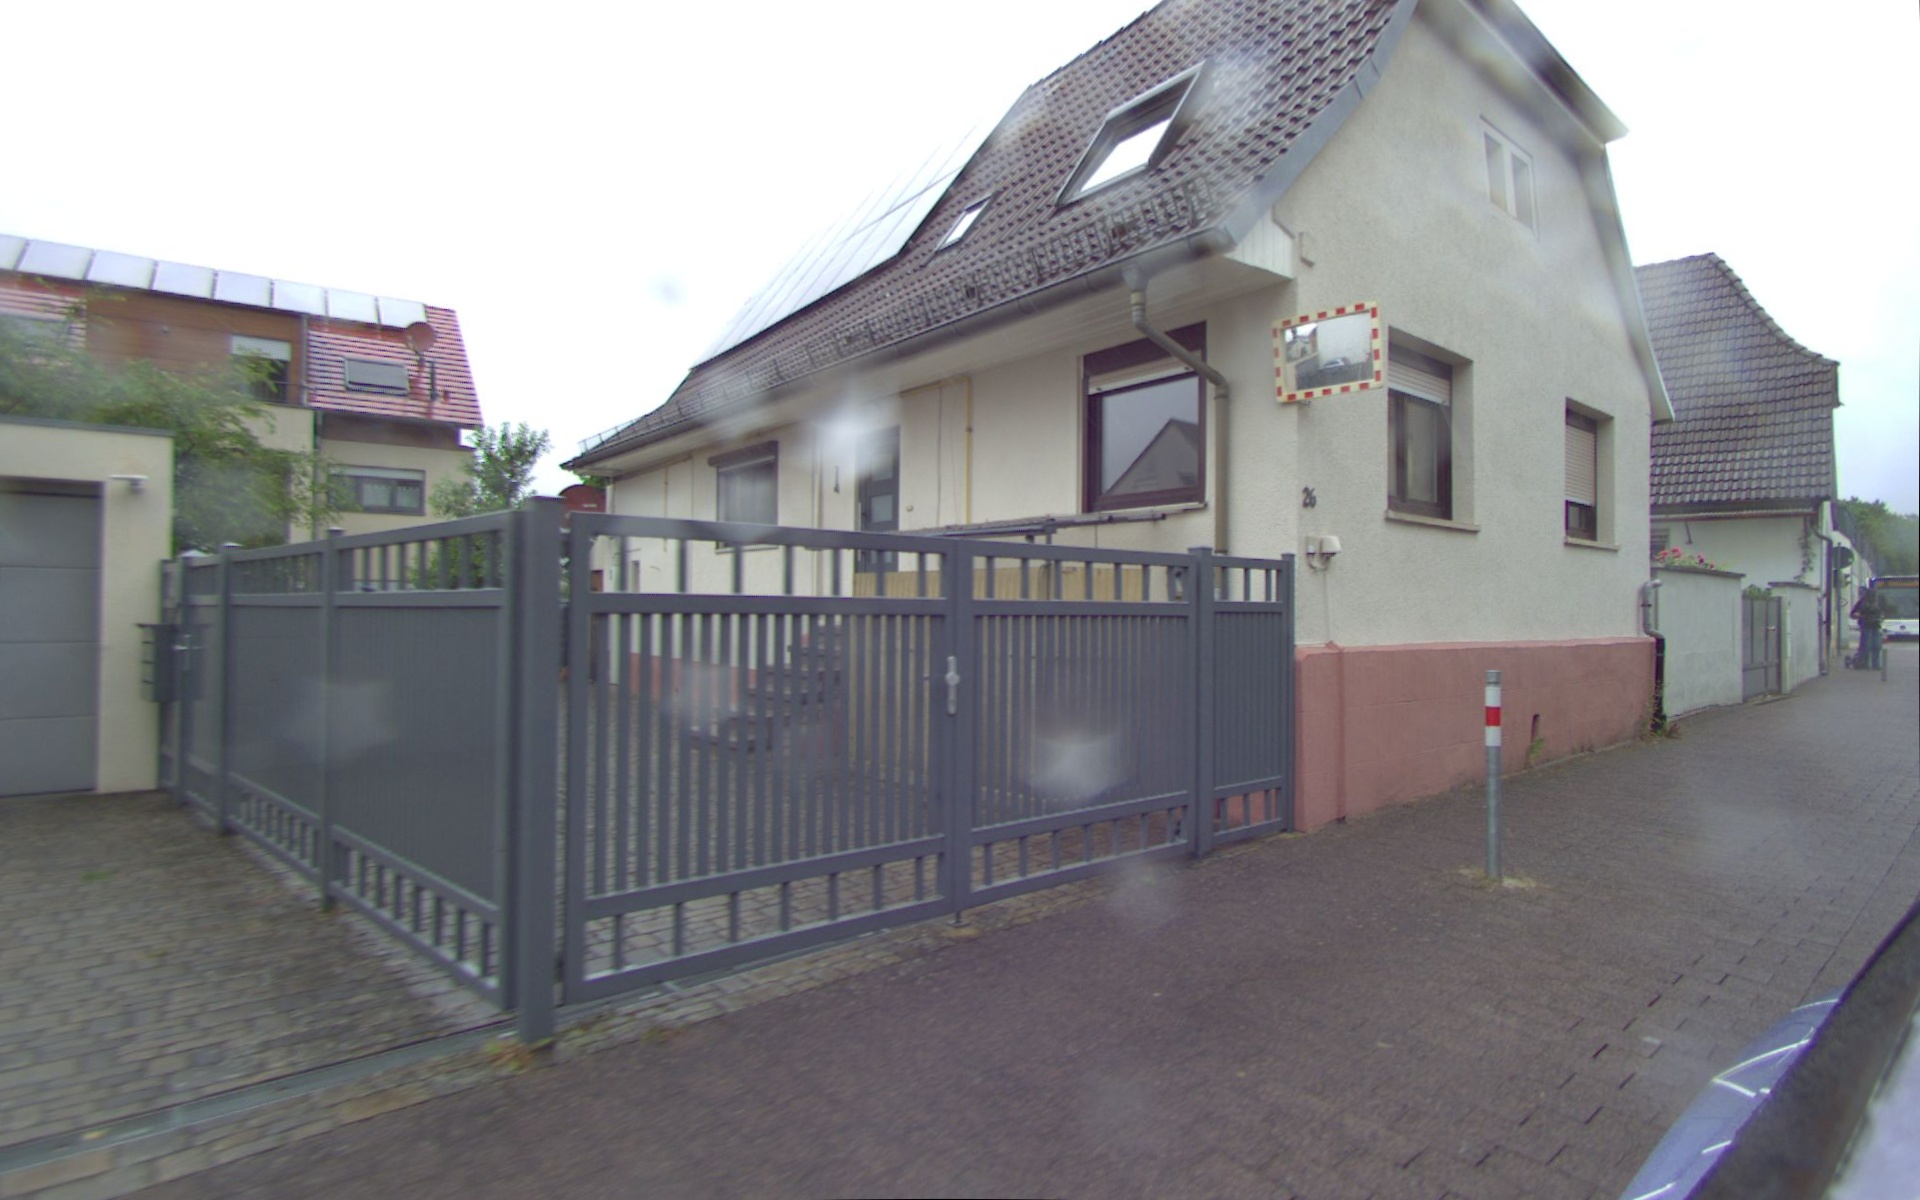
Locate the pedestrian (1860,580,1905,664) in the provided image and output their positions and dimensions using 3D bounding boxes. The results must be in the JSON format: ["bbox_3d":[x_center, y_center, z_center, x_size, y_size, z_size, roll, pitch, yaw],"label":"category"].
[{"bbox_3d":[19.634,0.454,21.533,0.694,1.754,0.808,0,-1,43],"label":"pedestrian"}]

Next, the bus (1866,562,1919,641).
[{"bbox_3d":[46.928,0.055,49.461,3.432,3.455,13.650,-1,0,44],"label":"bus"}]
